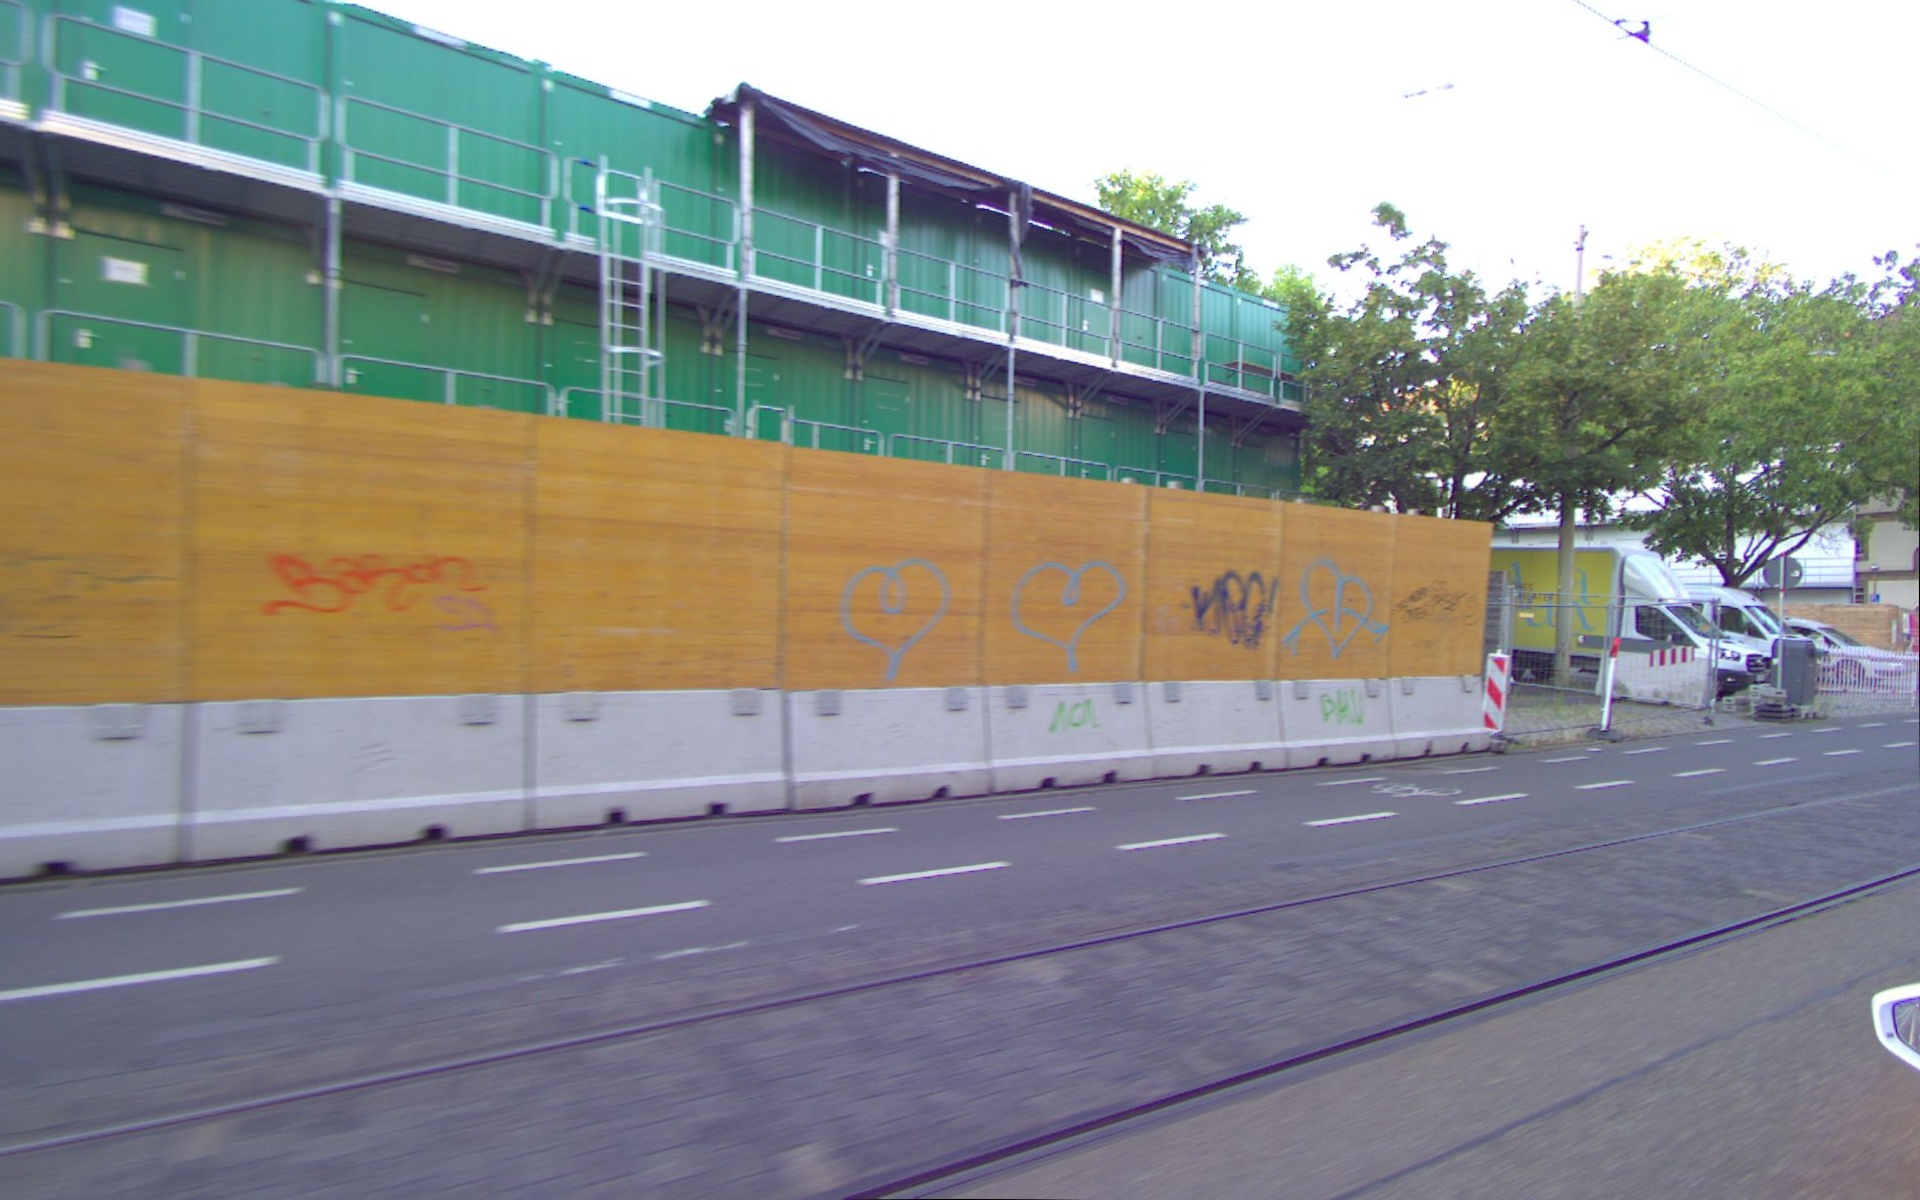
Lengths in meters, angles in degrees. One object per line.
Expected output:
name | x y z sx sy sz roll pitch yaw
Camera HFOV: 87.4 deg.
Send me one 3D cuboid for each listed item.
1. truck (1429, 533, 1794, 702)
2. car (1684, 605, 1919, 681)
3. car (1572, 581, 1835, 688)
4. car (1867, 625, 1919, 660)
truck | 15.531 0.291 24.583 2.514 3.527 7.015 1 1 -33
car | 25.410 1.211 30.568 2.197 1.971 5.010 1 1 -25
car | 20.344 0.830 27.772 2.202 2.593 5.368 1 1 -32
car | 47.627 2.120 50.519 4.070 1.661 1.903 2 -1 -31
